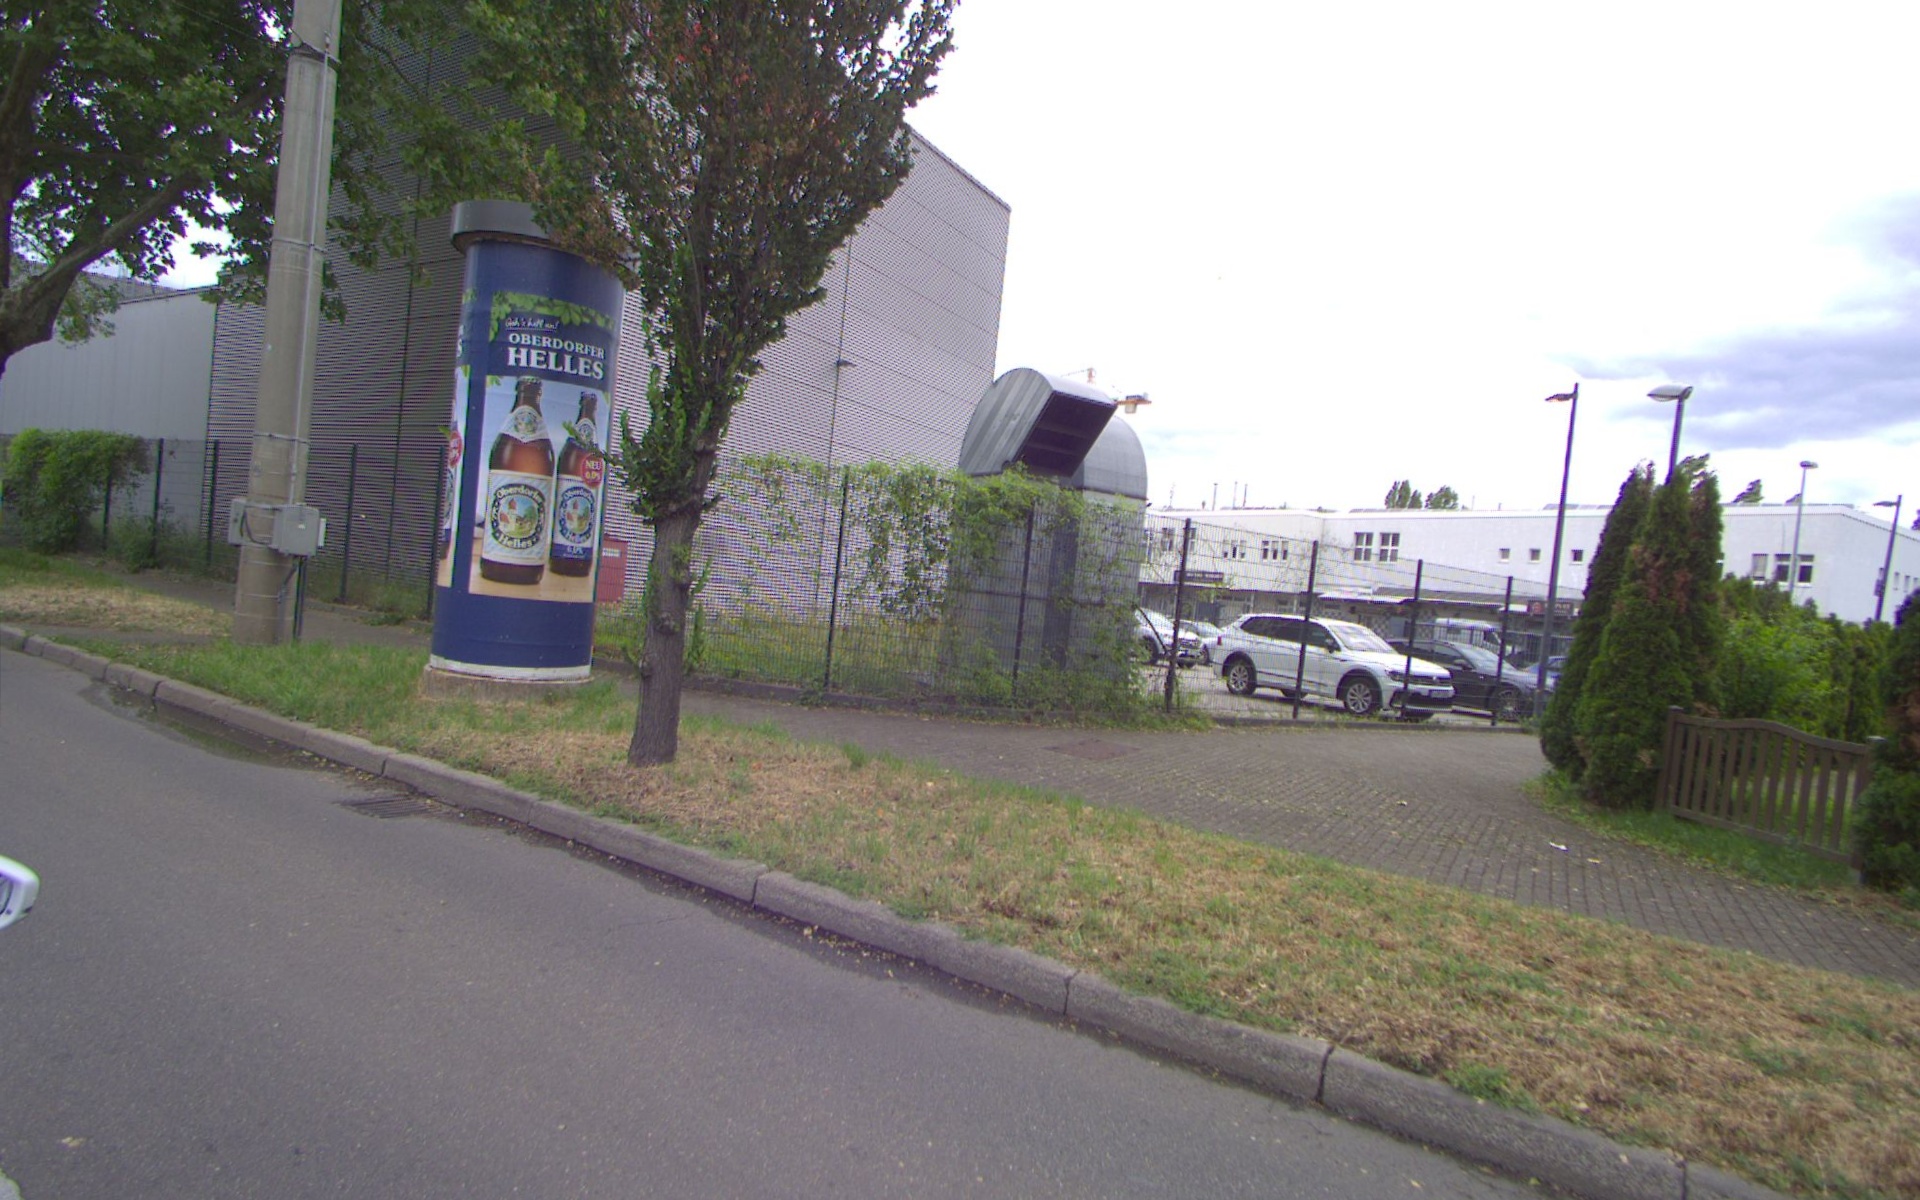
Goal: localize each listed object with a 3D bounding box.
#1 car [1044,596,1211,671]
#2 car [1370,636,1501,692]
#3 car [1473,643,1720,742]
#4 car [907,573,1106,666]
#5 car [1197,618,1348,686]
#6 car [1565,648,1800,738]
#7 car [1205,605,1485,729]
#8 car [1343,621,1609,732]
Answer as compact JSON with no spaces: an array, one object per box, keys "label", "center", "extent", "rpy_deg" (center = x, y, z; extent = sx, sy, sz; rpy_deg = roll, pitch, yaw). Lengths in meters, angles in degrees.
[{"label":"car","center":[4.845,0.951,29.593],"extent":[4.418,1.687,1.999],"rpy_deg":[6,1,-1]},{"label":"car","center":[19.098,2.553,40.581],"extent":[1.982,1.668,4.233],"rpy_deg":[8,-2,-34]},{"label":"car","center":[15.079,2.159,24.101],"extent":[1.979,1.686,4.464],"rpy_deg":[6,1,-31]},{"label":"car","center":[1.118,0.461,24.235],"extent":[4.197,1.668,1.999],"rpy_deg":[6,-2,29]},{"label":"car","center":[10.025,1.639,32.594],"extent":[1.982,1.668,4.233],"rpy_deg":[8,-2,-34]},{"label":"car","center":[18.747,2.368,26.324],"extent":[1.979,1.686,4.464],"rpy_deg":[6,1,-31]},{"label":"car","center":[6.946,1.156,18.658],"extent":[1.979,1.686,4.464],"rpy_deg":[6,1,-31]},{"label":"car","center":[10.611,1.519,21.064],"extent":[1.979,1.686,4.464],"rpy_deg":[6,1,-31]}]
